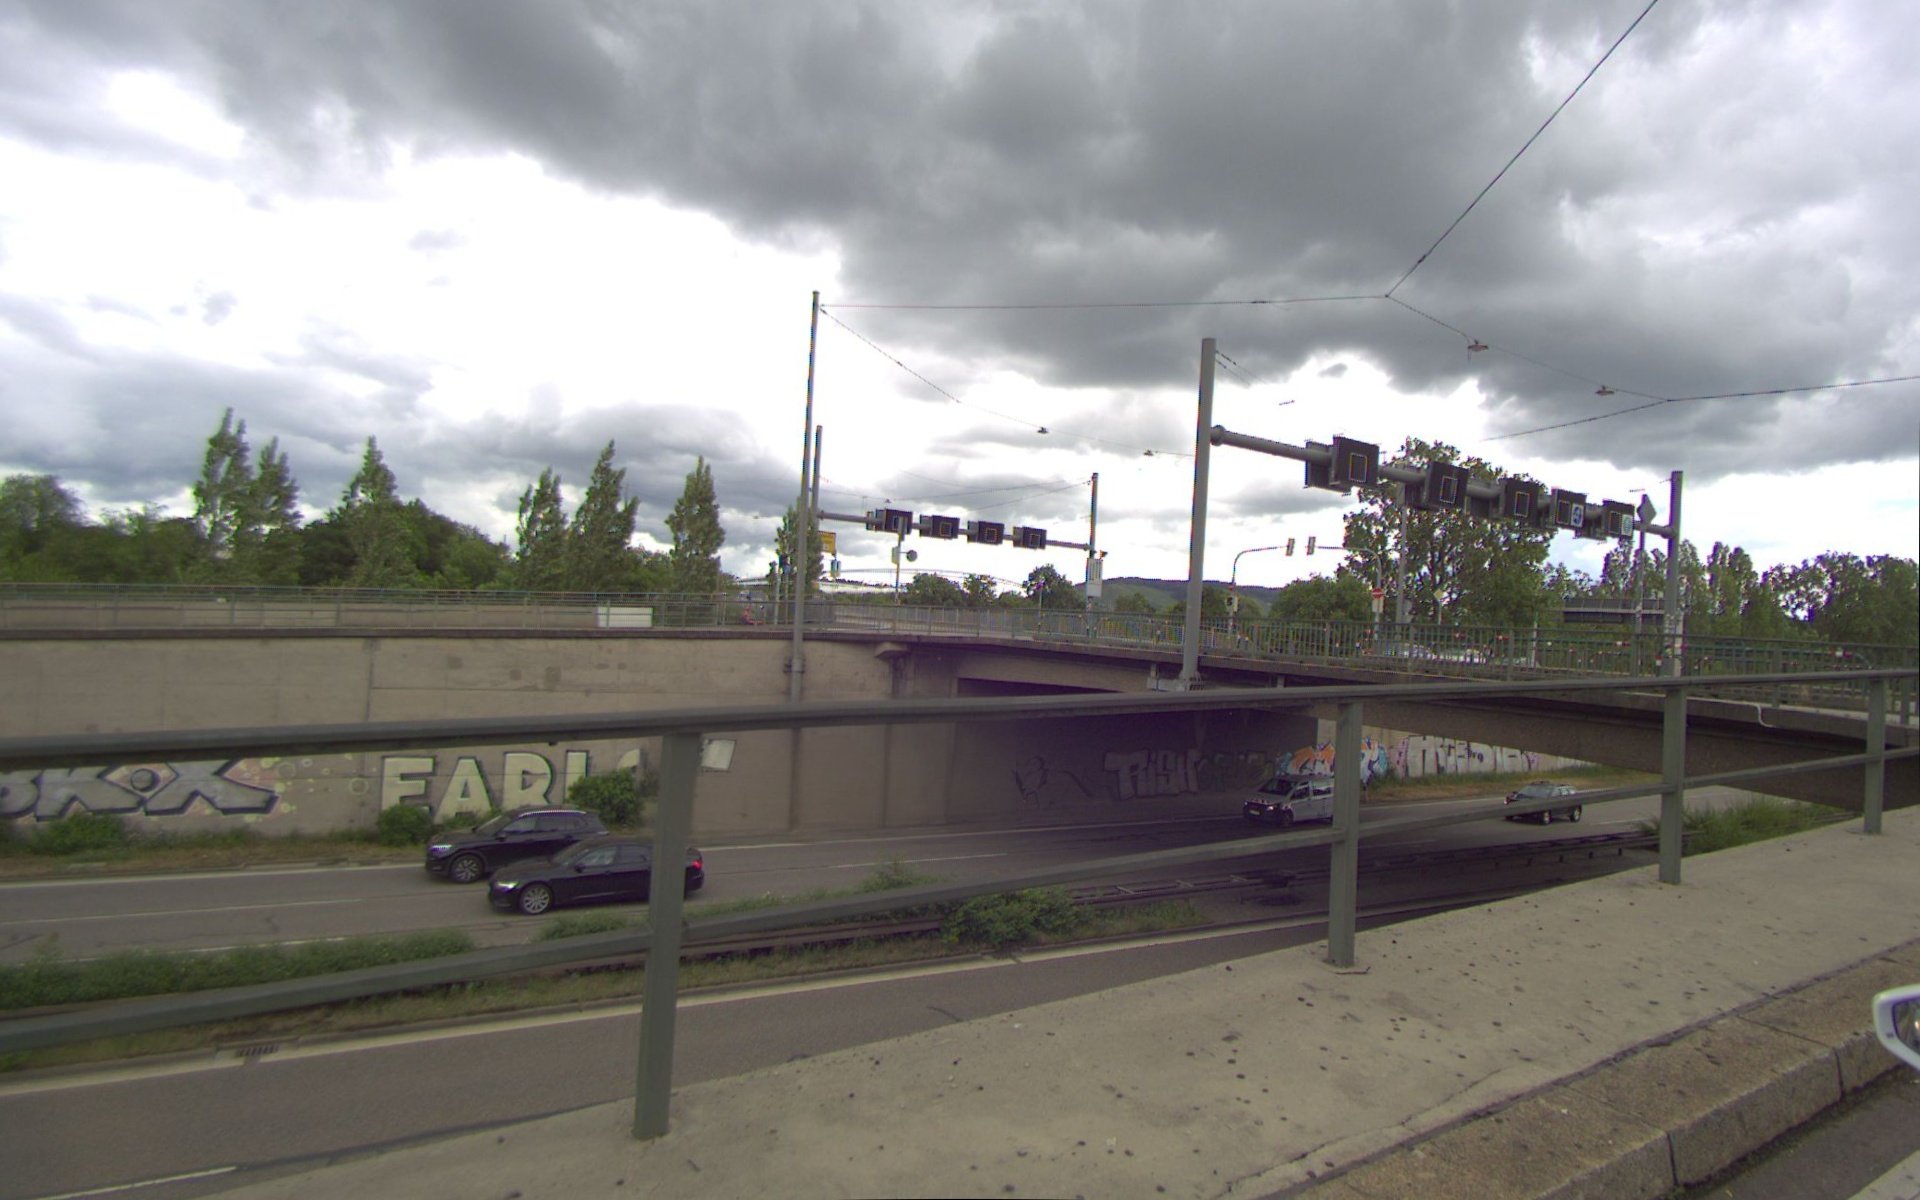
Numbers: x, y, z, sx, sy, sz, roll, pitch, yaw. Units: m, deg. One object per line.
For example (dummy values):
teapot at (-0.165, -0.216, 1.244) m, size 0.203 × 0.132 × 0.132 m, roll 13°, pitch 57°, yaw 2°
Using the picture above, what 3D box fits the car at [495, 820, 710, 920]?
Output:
car at (-8.552, 6.380, 24.118) m, size 4.526 × 1.647 × 1.984 m, roll 4°, pitch -4°, yaw -30°

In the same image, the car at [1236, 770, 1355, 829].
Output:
car at (13.830, 8.136, 41.339) m, size 4.854 × 1.932 × 1.938 m, roll 4°, pitch -3°, yaw -31°

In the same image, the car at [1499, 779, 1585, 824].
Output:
car at (26.242, 9.049, 45.271) m, size 3.954 × 1.641 × 1.657 m, roll 4°, pitch -4°, yaw -30°

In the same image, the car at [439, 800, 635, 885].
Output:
car at (-11.165, 6.335, 26.601) m, size 4.526 × 1.647 × 1.984 m, roll 4°, pitch -4°, yaw -30°
